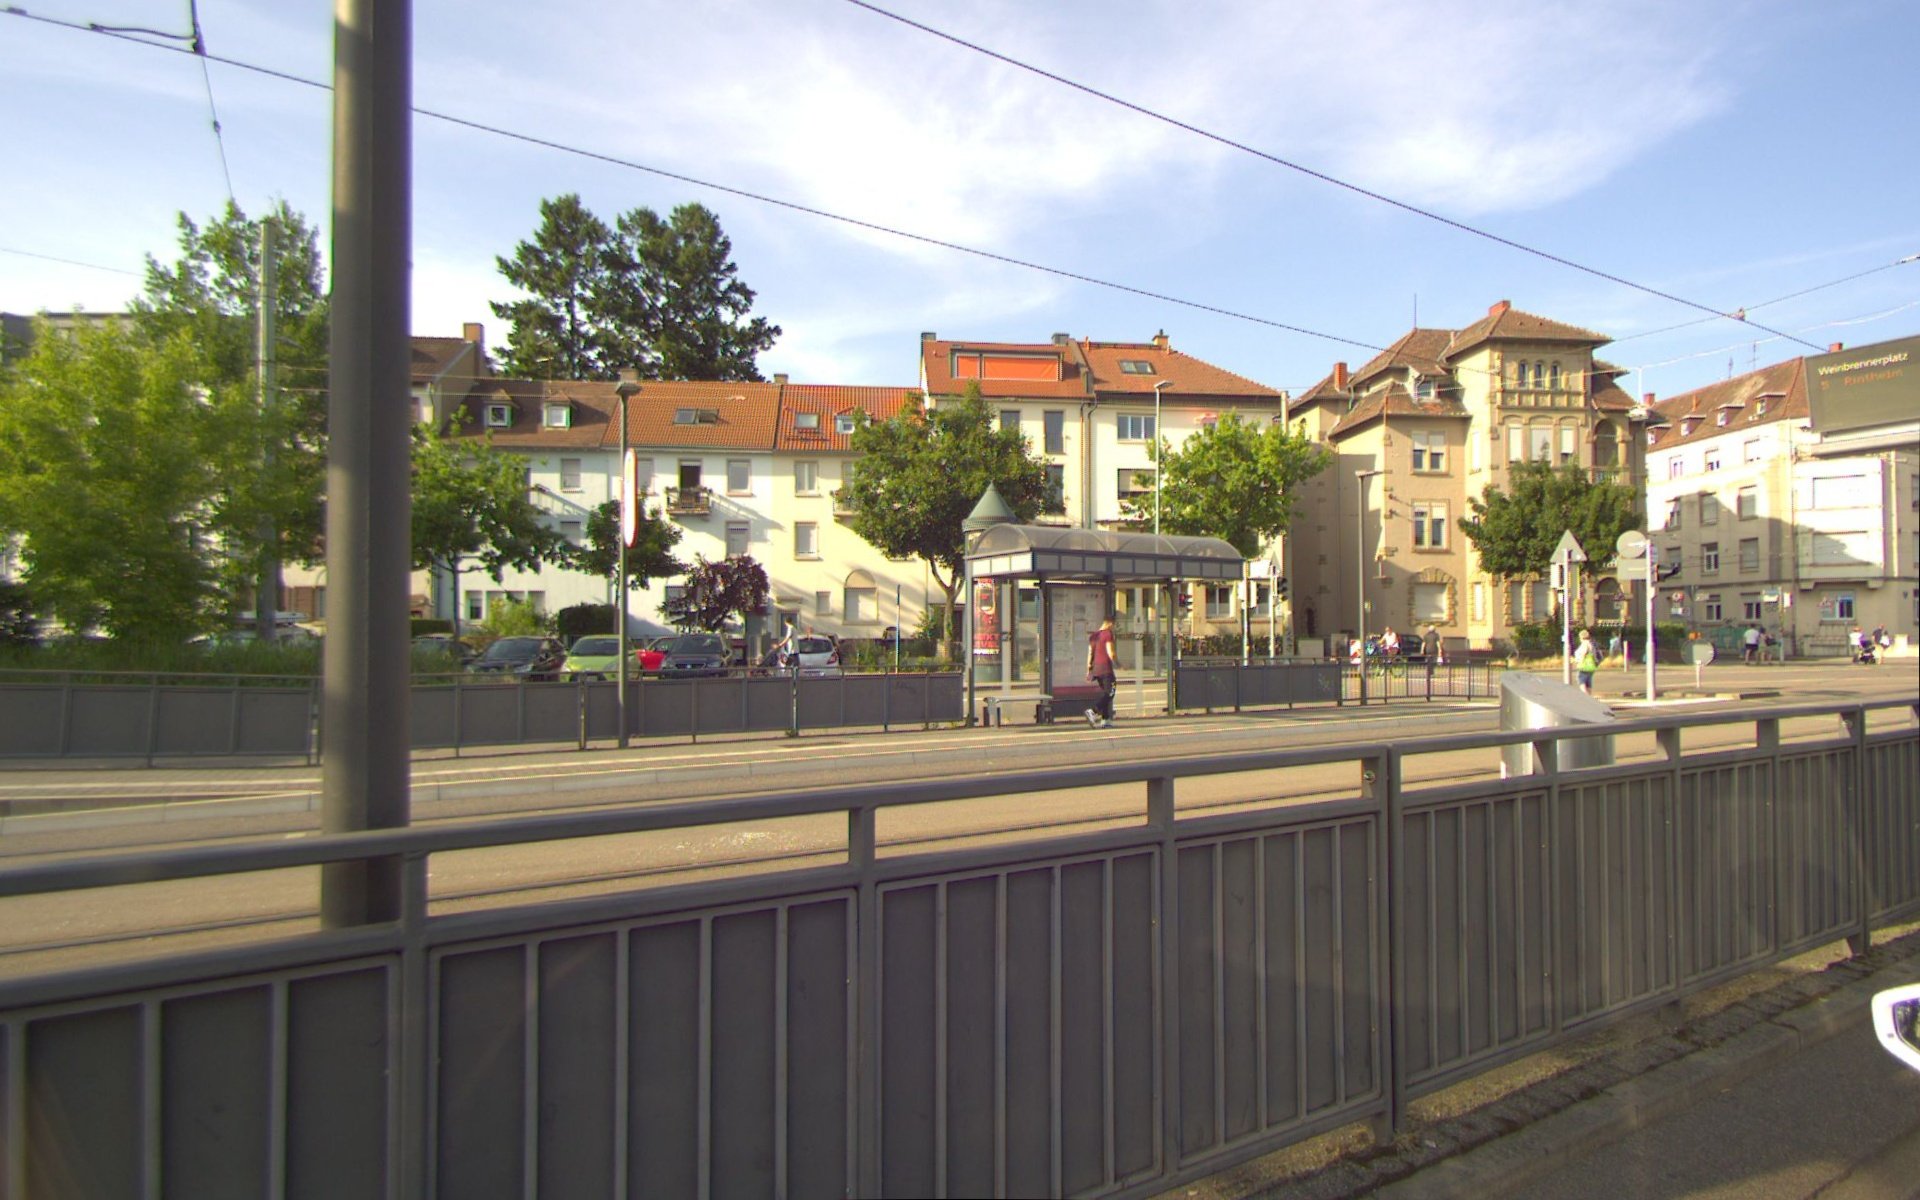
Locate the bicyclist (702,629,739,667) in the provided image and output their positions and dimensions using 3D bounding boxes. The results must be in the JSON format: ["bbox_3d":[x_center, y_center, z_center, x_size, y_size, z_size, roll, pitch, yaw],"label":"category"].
[{"bbox_3d":[-8.239,1.641,34.597,1.153,1.278,0.765,0,-2,-8],"label":"bicyclist"}]

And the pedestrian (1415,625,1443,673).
[{"bbox_3d":[16.570,1.728,35.515,0.778,1.667,0.757,-1,-2,16],"label":"pedestrian"}]

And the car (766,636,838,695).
[{"bbox_3d":[-4.351,1.764,27.820,1.815,1.505,3.995,0,-2,-9],"label":"car"}]

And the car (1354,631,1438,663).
[{"bbox_3d":[20.369,2.170,47.122,1.732,1.327,4.111,2,0,-7],"label":"car"}]

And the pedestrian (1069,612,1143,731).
[{"bbox_3d":[2.150,1.048,14.780,0.867,1.706,0.551,1,-5,-30],"label":"pedestrian"}]

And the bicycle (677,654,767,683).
[{"bbox_3d":[-8.152,2.350,34.584,2.942,0.926,0.786,0,-2,-8],"label":"bicycle"}]

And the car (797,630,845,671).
[{"bbox_3d":[-6.059,2.195,44.203,1.962,1.684,3.997,0,-2,-6],"label":"car"}]

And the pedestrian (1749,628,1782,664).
[{"bbox_3d":[36.272,2.071,45.255,0.768,1.572,0.831,0,-2,-8],"label":"pedestrian"}]

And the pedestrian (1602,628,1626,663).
[{"bbox_3d":[29.369,2.048,45.086,0.702,1.561,0.626,1,-2,-30],"label":"pedestrian"}]

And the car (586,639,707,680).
[{"bbox_3d":[-11.228,2.120,36.244,3.927,1.416,1.836,0,-2,-9],"label":"car"}]

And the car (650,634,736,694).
[{"bbox_3d":[-7.168,1.681,27.282,1.815,1.505,3.995,0,-2,-9],"label":"car"}]

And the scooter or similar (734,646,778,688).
[{"bbox_3d":[-4.955,1.621,24.406,1.006,1.001,0.556,0,-2,-15],"label":"scooter or similar"}]

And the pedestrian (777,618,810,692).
[{"bbox_3d":[-4.086,1.341,24.650,0.750,1.769,0.547,0,-2,-14],"label":"pedestrian"}]

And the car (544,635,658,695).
[{"bbox_3d":[-9.642,1.710,27.299,1.813,1.505,3.999,0,-2,-3],"label":"car"}]

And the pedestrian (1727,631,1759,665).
[{"bbox_3d":[35.960,2.204,46.116,0.768,1.572,0.831,0,-2,-8],"label":"pedestrian"}]

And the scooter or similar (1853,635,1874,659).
[{"bbox_3d":[42.913,2.239,47.726,0.675,1.093,0.541,2,0,-30],"label":"scooter or similar"}]

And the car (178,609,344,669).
[{"bbox_3d":[-18.661,1.048,27.062,1.813,1.505,3.999,0,-2,-3],"label":"car"}]

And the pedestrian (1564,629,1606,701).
[{"bbox_3d":[14.265,1.470,22.921,0.627,1.620,0.608,1,-2,-36],"label":"pedestrian"}]

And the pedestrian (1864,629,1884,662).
[{"bbox_3d":[42.532,2.102,46.733,0.540,1.520,0.437,0,-2,-15],"label":"pedestrian"}]

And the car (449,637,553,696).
[{"bbox_3d":[-11.886,1.675,26.250,1.968,1.416,3.985,0,-2,-18],"label":"car"}]

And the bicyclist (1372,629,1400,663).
[{"bbox_3d":[13.429,1.441,31.644,0.672,1.058,0.510,1,-2,-31],"label":"bicyclist"}]

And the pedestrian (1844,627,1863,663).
[{"bbox_3d":[42.150,2.122,47.383,0.601,1.647,0.506,1,-2,-29],"label":"pedestrian"}]

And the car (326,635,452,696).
[{"bbox_3d":[-14.407,1.599,25.591,1.968,1.416,3.985,0,-2,-18],"label":"car"}]

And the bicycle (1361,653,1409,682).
[{"bbox_3d":[13.371,2.114,31.592,1.667,0.845,0.523,1,-2,-32],"label":"bicycle"}]
